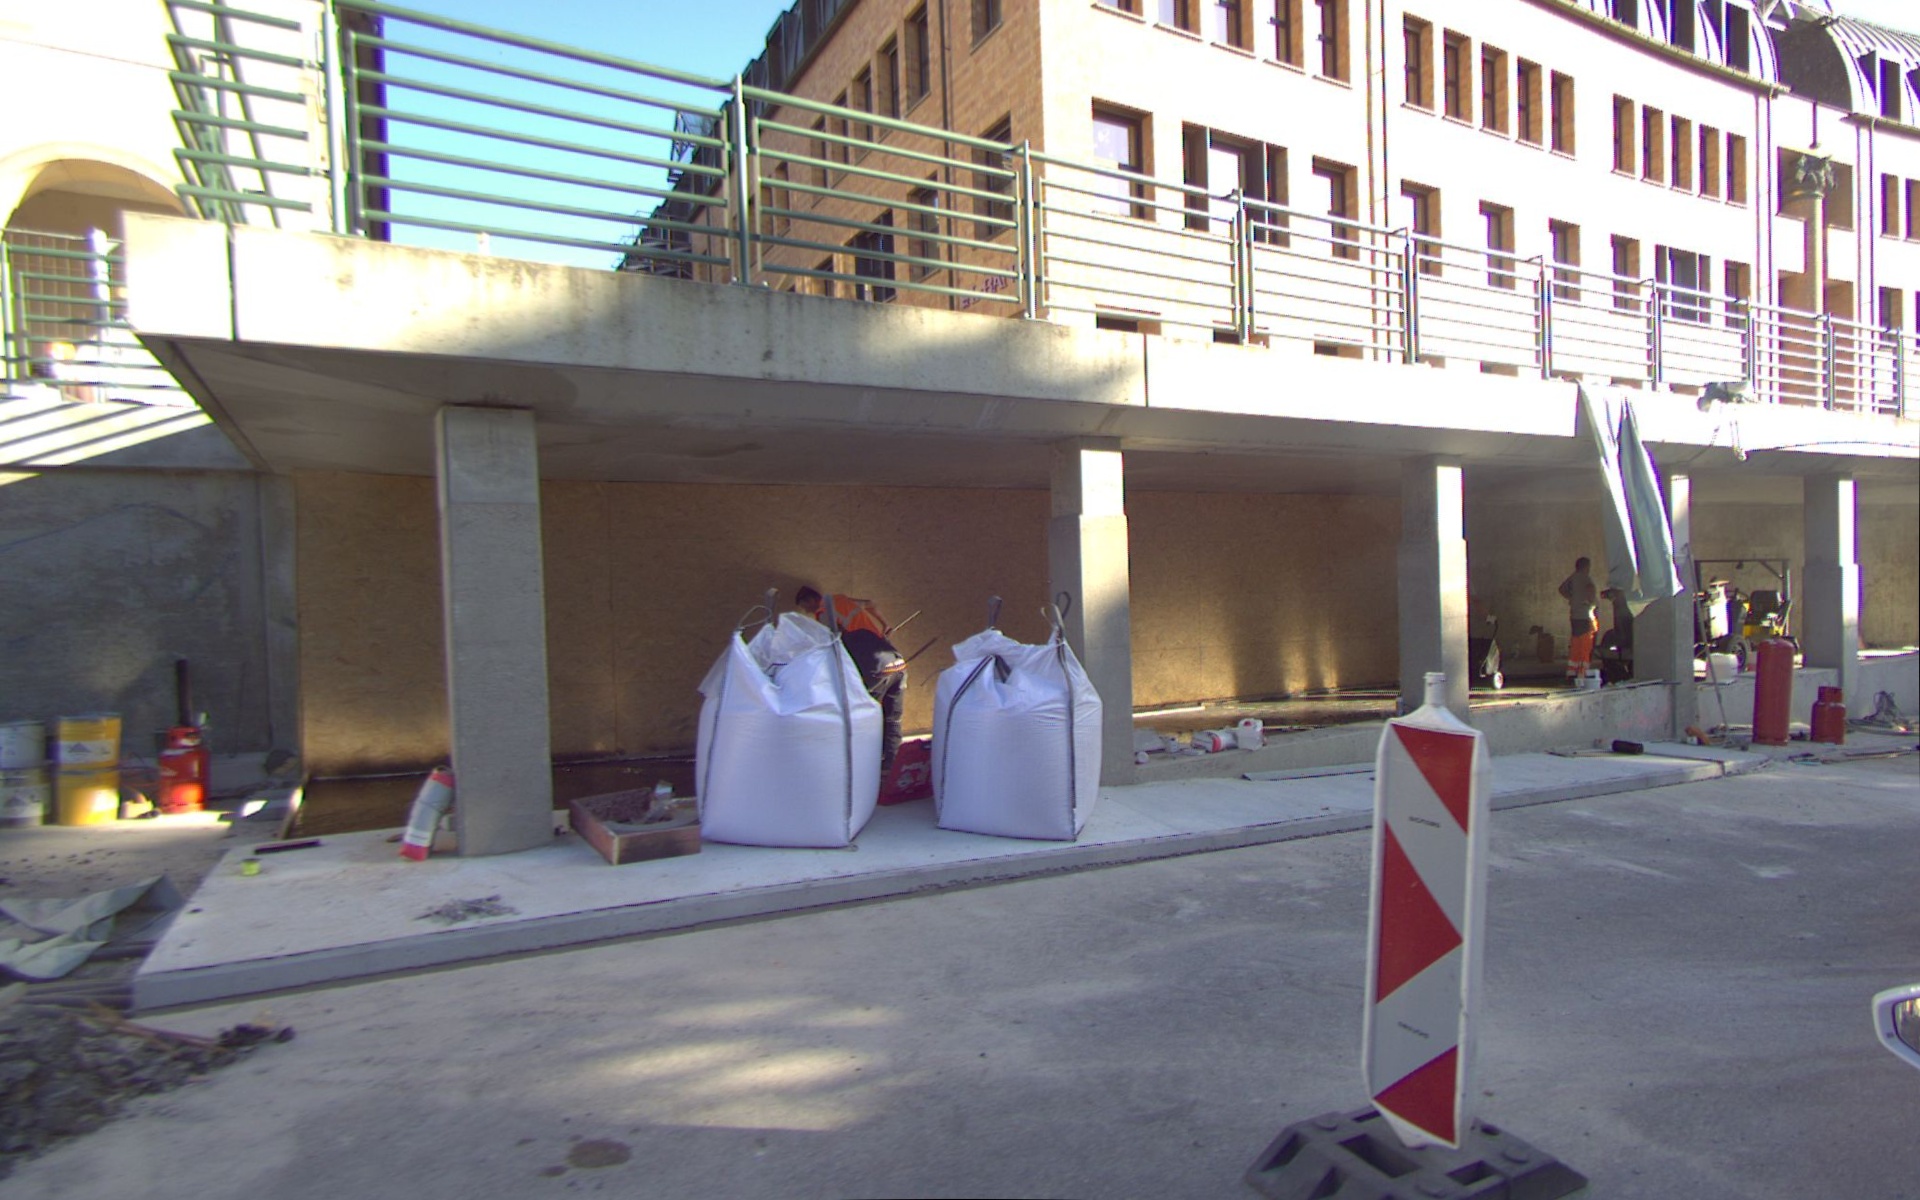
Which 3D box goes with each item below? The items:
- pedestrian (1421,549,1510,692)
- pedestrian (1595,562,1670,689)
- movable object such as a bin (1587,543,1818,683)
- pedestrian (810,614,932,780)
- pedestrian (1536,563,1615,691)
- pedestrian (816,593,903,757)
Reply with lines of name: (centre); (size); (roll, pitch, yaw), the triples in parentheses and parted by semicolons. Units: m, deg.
pedestrian: (7.239, 0.280, 14.400); (0.925, 1.983, 0.674); (1, 1, -28)
pedestrian: (9.975, 0.367, 14.909); (0.615, 1.829, 0.656); (1, 1, -20)
movable object such as a bin: (11.802, 0.180, 15.977); (3.122, 2.014, 1.876); (0, 1, -30)
pedestrian: (-0.823, 0.848, 9.217); (0.776, 1.417, 0.865); (1, 0, -37)
pedestrian: (9.089, 0.379, 14.851); (0.701, 1.839, 0.700); (0, 2, -30)
pedestrian: (-1.024, 0.735, 10.242); (0.625, 1.601, 0.644); (1, 0, -38)
